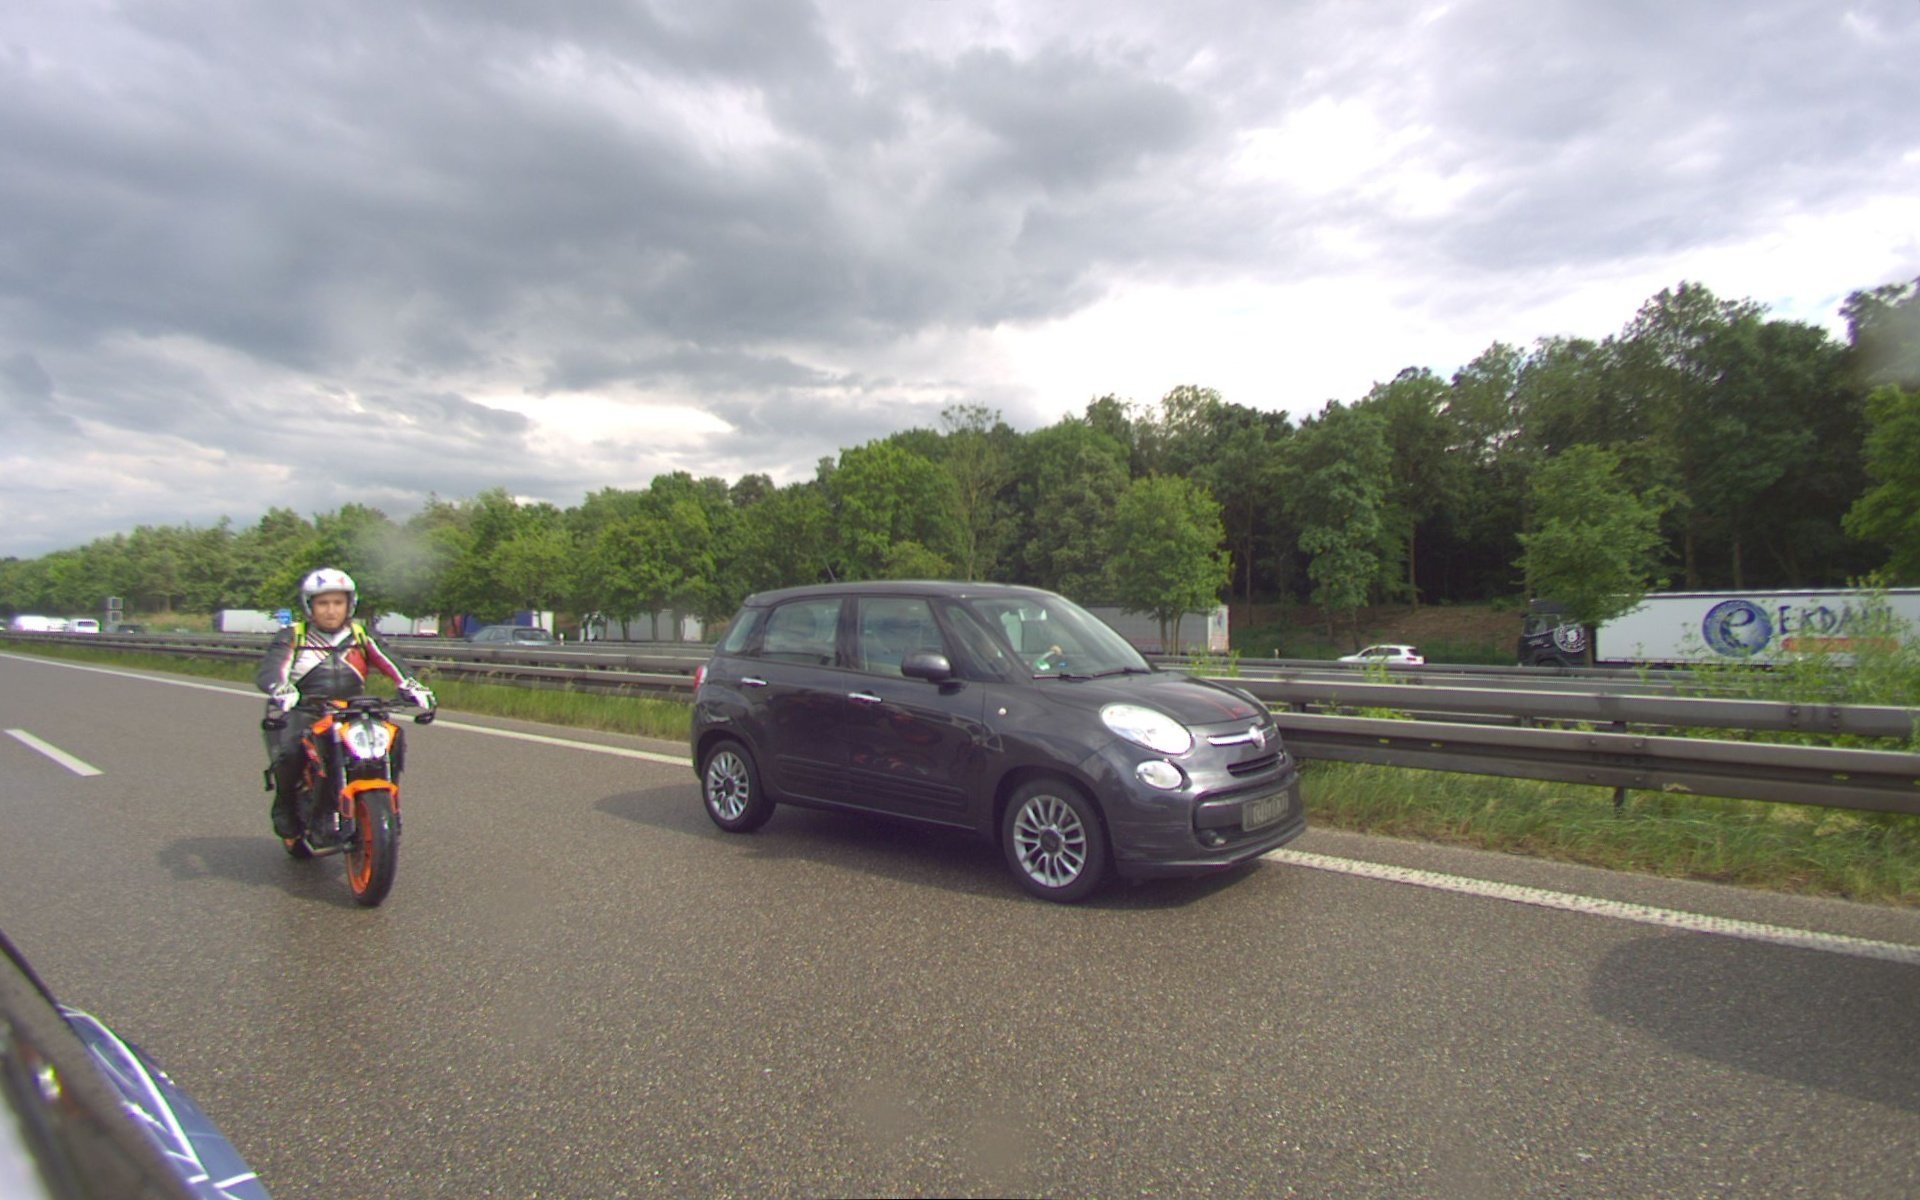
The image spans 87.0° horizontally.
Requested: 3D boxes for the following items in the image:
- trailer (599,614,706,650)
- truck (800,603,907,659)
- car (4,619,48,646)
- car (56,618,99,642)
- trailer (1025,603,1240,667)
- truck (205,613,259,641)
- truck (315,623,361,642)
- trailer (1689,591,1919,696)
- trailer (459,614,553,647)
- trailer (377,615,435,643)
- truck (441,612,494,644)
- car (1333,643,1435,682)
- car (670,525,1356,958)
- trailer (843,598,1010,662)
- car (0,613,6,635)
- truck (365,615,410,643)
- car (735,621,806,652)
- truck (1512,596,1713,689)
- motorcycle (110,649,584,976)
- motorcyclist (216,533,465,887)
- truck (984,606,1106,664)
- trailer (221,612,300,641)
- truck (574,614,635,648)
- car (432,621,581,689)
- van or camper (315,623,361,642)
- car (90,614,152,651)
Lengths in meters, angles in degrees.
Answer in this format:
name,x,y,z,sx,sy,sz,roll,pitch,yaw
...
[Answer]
name,x,y,z,sx,sy,sz,roll,pitch,yaw
trailer,-29.695,3.026,97.248,12.458,3.241,3.315,-1,-2,39
truck,-8.586,2.395,80.966,8.413,4.266,3.748,-1,0,41
car,-76.320,2.618,82.697,5.205,2.061,2.030,-1,0,40
car,-76.663,2.577,87.936,4.648,2.061,2.152,-1,0,40
trailer,10.454,2.141,63.335,13.340,3.677,3.749,-1,-2,42
truck,-100.503,3.642,139.745,6.880,3.732,3.189,-1,0,26
truck,-79.650,4.172,129.616,6.288,2.282,2.105,-1,-1,28
trailer,34.217,1.592,38.039,3.743,3.677,10.510,1,-2,-42
trailer,-50.132,3.344,111.515,13.388,3.431,2.800,-1,-2,34
trailer,-66.849,3.485,122.086,7.712,3.257,2.560,-1,-2,31
truck,-56.351,3.193,115.694,5.880,3.482,2.837,-1,0,33
car,21.601,3.147,51.657,4.368,1.731,2.036,-1,0,43
car,0.111,0.606,6.178,3.972,1.818,1.675,-1,0,40
trailer,-2.796,2.248,75.905,13.796,4.439,3.749,-1,-2,42
car,-93.817,2.298,97.625,4.648,2.061,2.152,-1,0,40
truck,-70.151,3.540,123.959,5.066,3.292,2.636,-1,0,30
car,-16.361,3.071,87.136,6.207,2.501,2.764,-1,0,41
truck,28.429,1.720,44.292,3.744,3.688,6.710,-1,0,-44
motorcycle,-3.524,0.947,5.621,3.189,1.235,1.174,-1,0,37
motorcyclist,-3.408,0.536,5.577,0.999,1.719,0.872,-1,0,38
truck,5.609,2.224,67.664,7.351,3.616,3.748,-1,0,41
trailer,-94.633,3.583,136.829,12.504,3.767,3.185,-1,-2,27
truck,-35.850,3.100,102.118,5.498,3.298,3.322,-1,0,37
car,-13.678,1.567,30.360,5.205,1.789,2.030,-1,0,40
van or camper,-79.710,4.173,129.653,6.292,2.282,2.105,-1,-1,28
car,-50.502,1.914,60.878,5.205,2.061,2.030,-1,0,40
